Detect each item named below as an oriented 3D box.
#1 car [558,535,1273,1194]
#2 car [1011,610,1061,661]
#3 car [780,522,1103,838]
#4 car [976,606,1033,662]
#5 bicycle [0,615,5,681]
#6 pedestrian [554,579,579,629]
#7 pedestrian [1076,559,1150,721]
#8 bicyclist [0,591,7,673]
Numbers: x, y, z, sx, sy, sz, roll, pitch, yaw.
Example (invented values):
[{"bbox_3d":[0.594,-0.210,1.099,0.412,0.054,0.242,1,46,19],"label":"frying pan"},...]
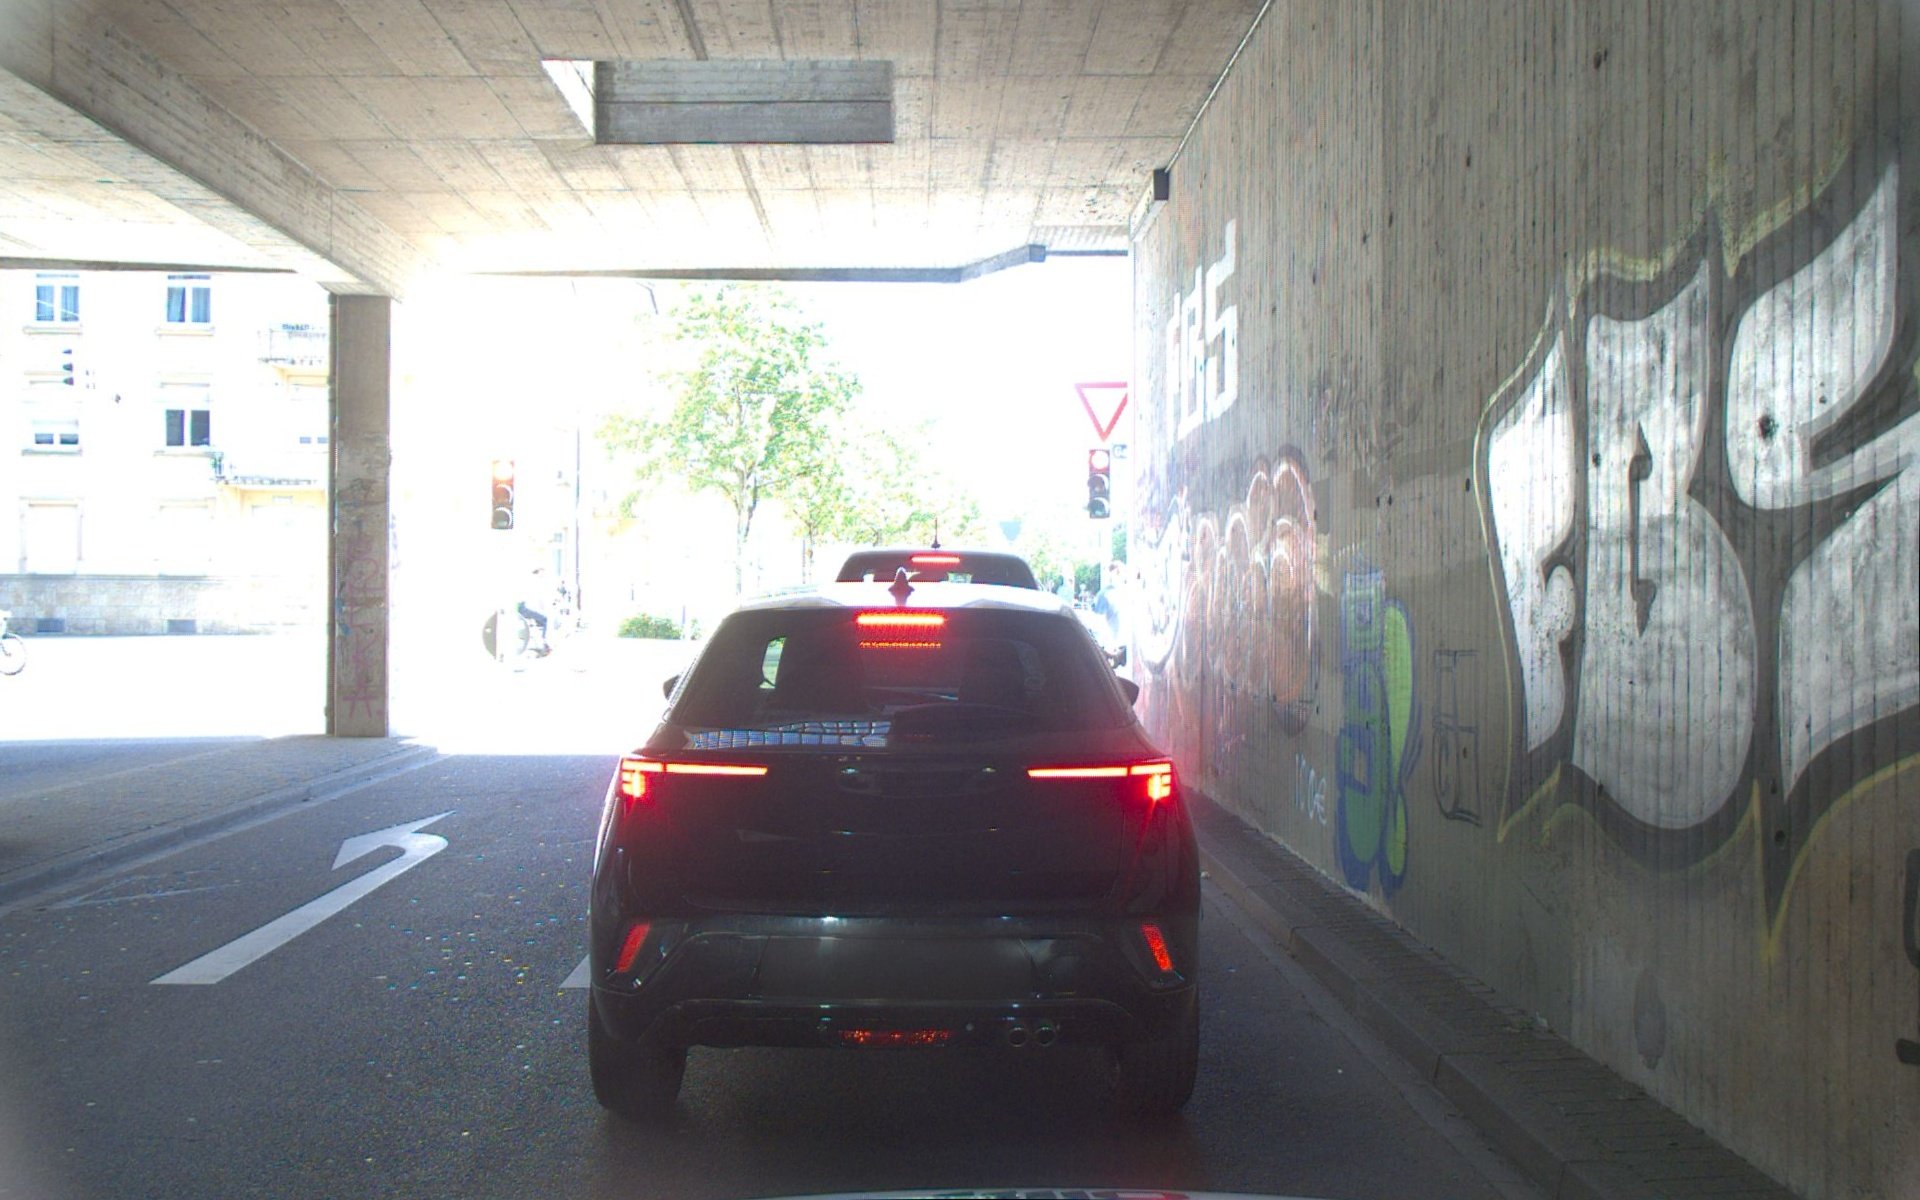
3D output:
[{"bbox_3d":[-0.136,0.609,6.060,1.729,1.598,4.000,1,1,-1],"label":"car"},{"bbox_3d":[3.174,1.451,68.342,1.951,2.004,4.166,1,0,4],"label":"car"},{"bbox_3d":[-0.141,0.473,12.038,1.953,1.904,3.999,0,0,-1],"label":"car"},{"bbox_3d":[1.709,1.246,62.354,1.951,2.004,4.166,1,0,4],"label":"car"},{"bbox_3d":[-17.272,0.807,28.192,1.704,1.138,0.477,1,-1,2],"label":"bicycle"},{"bbox_3d":[-13.321,0.122,55.969,0.658,1.666,0.740,1,-1,-1],"label":"pedestrian"},{"bbox_3d":[1.708,0.444,18.616,0.716,1.764,0.874,1,-1,-1],"label":"pedestrian"},{"bbox_3d":[-16.756,0.539,28.179,0.730,1.400,0.452,1,-1,2],"label":"bicyclist"}]
